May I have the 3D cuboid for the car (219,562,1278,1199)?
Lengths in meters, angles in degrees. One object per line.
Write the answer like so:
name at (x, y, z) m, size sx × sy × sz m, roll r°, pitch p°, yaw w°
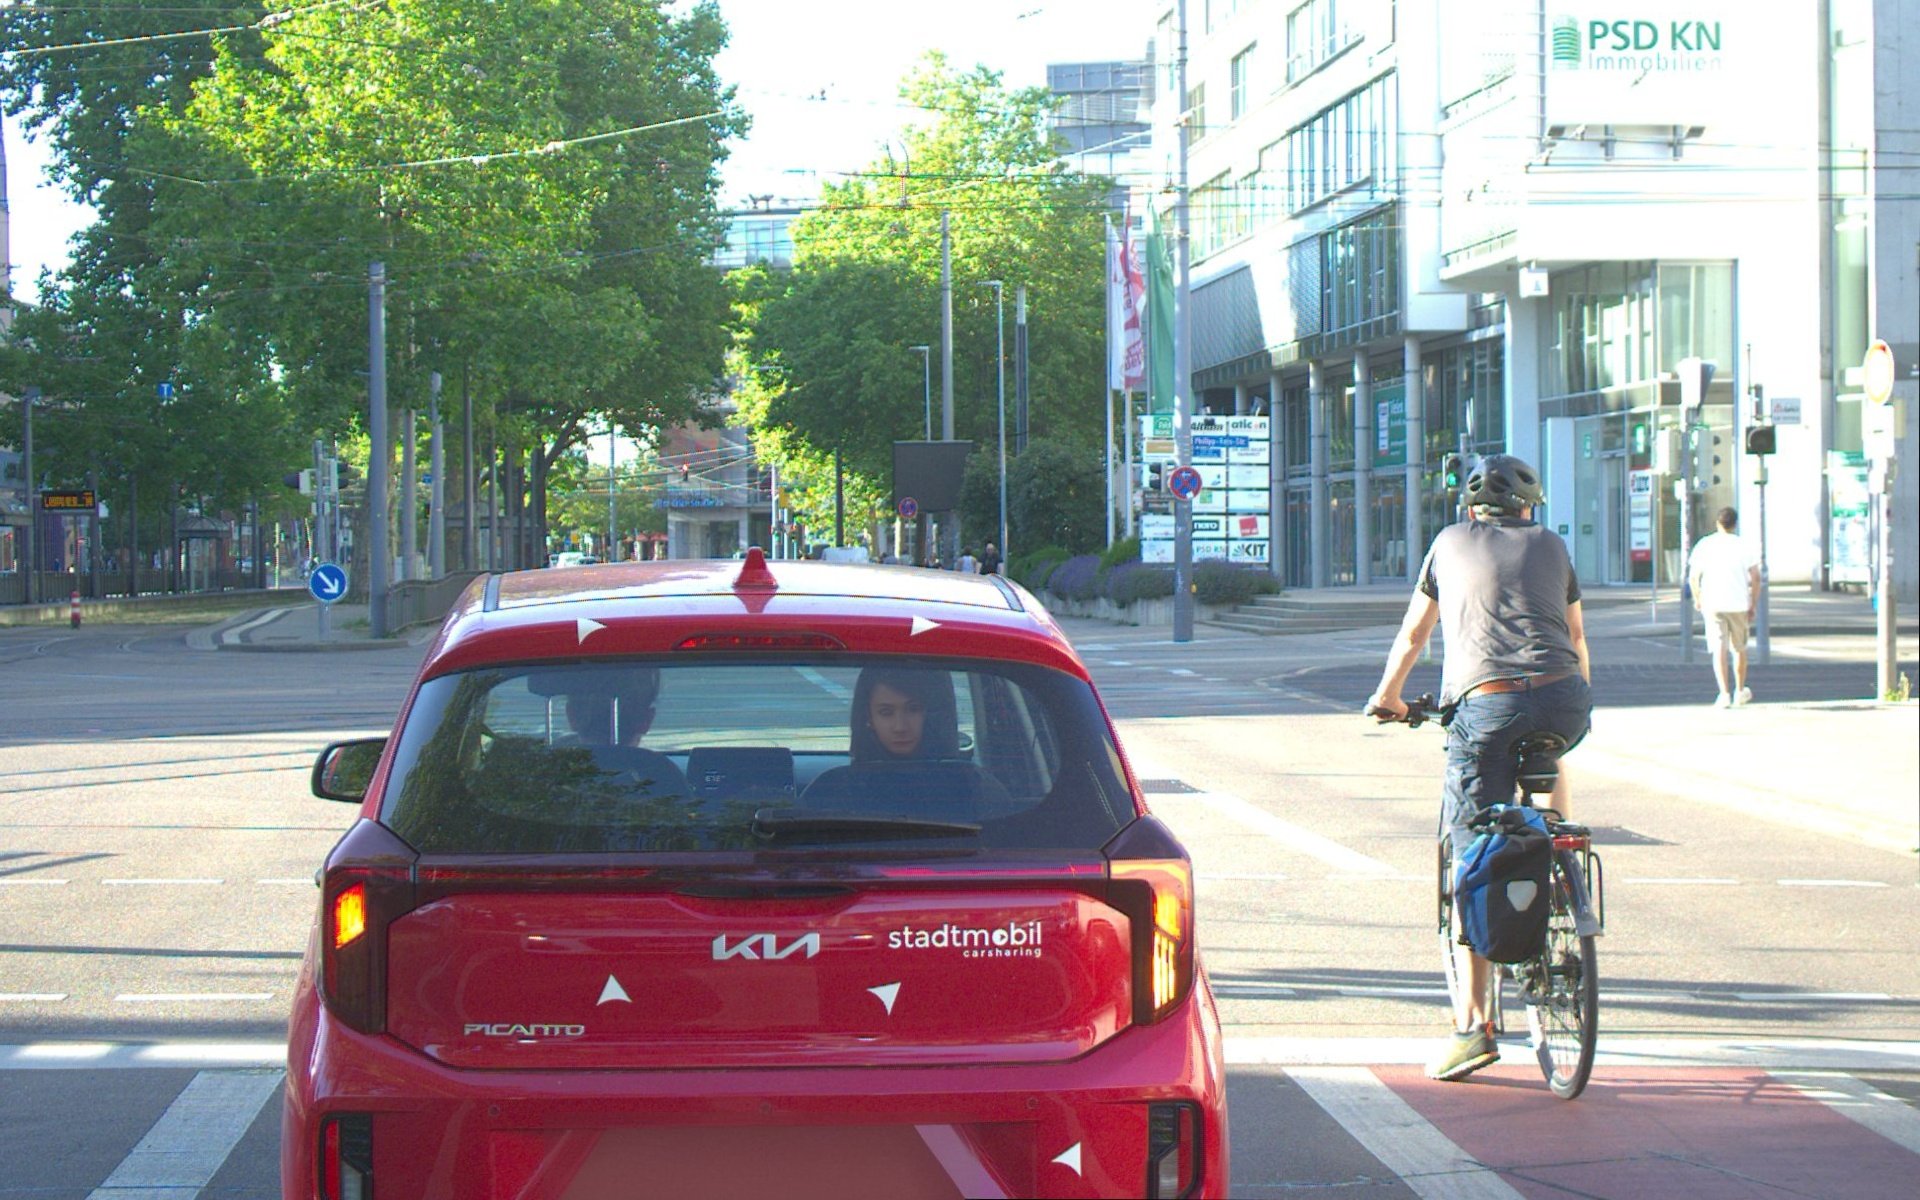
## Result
car at (-0.467, 0.701, 6.958) m, size 1.613 × 1.529 × 3.412 m, roll 0°, pitch 1°, yaw -5°

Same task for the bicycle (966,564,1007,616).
bicycle at (0.601, -0.236, 79.043) m, size 0.696 × 1.094 × 1.751 m, roll -4°, pitch 2°, yaw -5°

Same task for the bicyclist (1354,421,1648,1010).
bicyclist at (1.536, 0.305, 9.906) m, size 0.650 × 1.597 × 1.089 m, roll -1°, pitch 1°, yaw -1°

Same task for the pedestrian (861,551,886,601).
pedestrian at (-2.764, -0.769, 109.884) m, size 0.641 × 1.574 × 0.723 m, roll -4°, pitch 1°, yaw -7°

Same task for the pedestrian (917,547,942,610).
pedestrian at (-0.830, -0.587, 92.533) m, size 0.646 × 1.674 × 0.651 m, roll -1°, pitch 1°, yaw -1°

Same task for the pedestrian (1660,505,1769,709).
pedestrian at (6.891, 0.054, 31.442) m, size 0.777 × 1.817 × 1.216 m, roll -1°, pitch 1°, yaw 4°

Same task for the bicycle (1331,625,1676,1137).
bicycle at (1.520, 0.737, 9.922) m, size 0.650 × 1.276 × 1.966 m, roll -1°, pitch 1°, yaw -1°

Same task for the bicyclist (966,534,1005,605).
bicyclist at (0.583, -0.700, 78.985) m, size 0.721 × 1.597 × 1.089 m, roll -3°, pitch 1°, yaw -5°

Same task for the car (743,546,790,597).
car at (-6.960, -1.045, 123.726) m, size 1.635 × 1.794 × 3.330 m, roll -1°, pitch 1°, yaw -3°

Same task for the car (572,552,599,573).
car at (-27.840, -2.817, 255.839) m, size 1.777 × 1.529 × 3.413 m, roll 0°, pitch 1°, yaw -10°

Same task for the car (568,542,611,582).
car at (-18.985, -1.940, 176.003) m, size 1.993 × 2.007 × 4.001 m, roll -1°, pitch 1°, yaw -8°

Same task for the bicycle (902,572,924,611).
bicycle at (-1.272, -0.229, 92.540) m, size 0.520 × 0.971 × 2.202 m, roll -4°, pitch 2°, yaw -1°

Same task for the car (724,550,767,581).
car at (-10.955, -1.778, 175.290) m, size 1.777 × 1.529 × 3.513 m, roll 0°, pitch 1°, yaw -10°

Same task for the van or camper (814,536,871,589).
van or camper at (-4.541, -1.440, 132.296) m, size 1.993 × 1.982 × 4.745 m, roll 0°, pitch 1°, yaw -4°

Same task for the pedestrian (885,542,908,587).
pedestrian at (-2.478, -1.377, 134.353) m, size 0.891 × 1.747 × 0.841 m, roll -1°, pitch 1°, yaw -1°
